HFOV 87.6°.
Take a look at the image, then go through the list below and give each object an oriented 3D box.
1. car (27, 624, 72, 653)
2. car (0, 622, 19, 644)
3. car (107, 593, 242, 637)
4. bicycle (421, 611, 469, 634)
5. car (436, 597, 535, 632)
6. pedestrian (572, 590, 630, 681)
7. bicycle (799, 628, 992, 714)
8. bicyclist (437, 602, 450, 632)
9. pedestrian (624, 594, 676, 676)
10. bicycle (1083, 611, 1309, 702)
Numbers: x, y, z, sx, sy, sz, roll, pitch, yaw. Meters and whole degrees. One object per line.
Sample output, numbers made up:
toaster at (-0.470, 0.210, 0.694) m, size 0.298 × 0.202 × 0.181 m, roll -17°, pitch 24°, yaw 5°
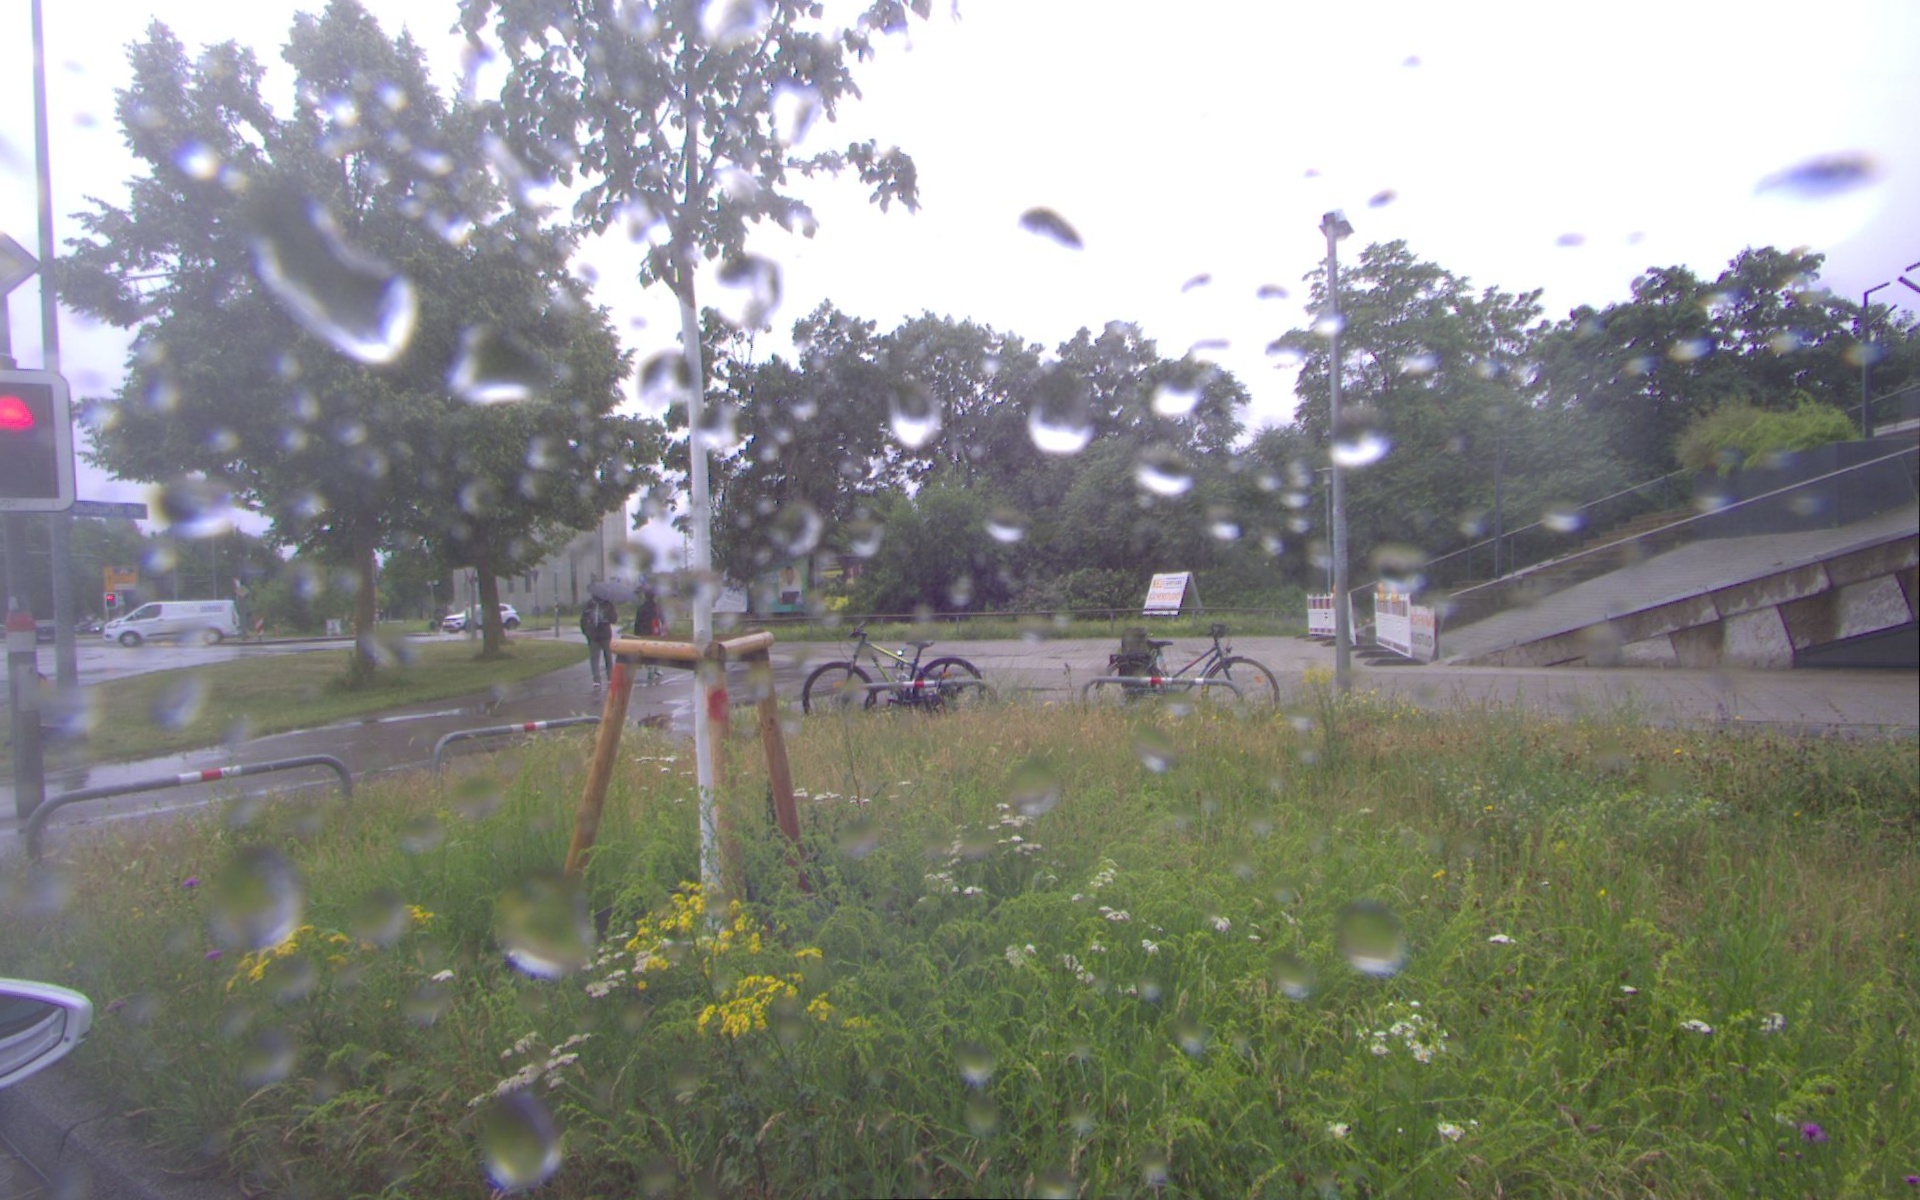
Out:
car at (-49.919, 2.098, 54.895) m, size 3.947 × 1.473 × 1.608 m, roll -1°, pitch 0°, yaw 45°
car at (-76.871, 2.636, 79.357) m, size 1.771 × 1.683 × 3.993 m, roll 0°, pitch -2°, yaw -19°
car at (-35.926, 0.724, 45.971) m, size 4.715 × 1.874 × 1.987 m, roll 1°, pitch -2°, yaw -35°
bicycle at (-30.538, 1.349, 59.457) m, size 2.480 × 1.330 × 0.567 m, roll 1°, pitch -2°, yaw -38°
car at (-26.838, 0.810, 56.798) m, size 1.970 × 1.876 × 4.753 m, roll -1°, pitch 0°, yaw 30°
pedestrian at (-6.227, 0.617, 17.372) m, size 0.730 × 1.542 × 0.620 m, roll -1°, pitch -1°, yaw 31°
bicycle at (-0.614, 0.675, 9.668) m, size 1.823 × 0.797 × 0.380 m, roll 0°, pitch -2°, yaw -2°
bicyclist at (-30.656, 1.025, 59.390) m, size 0.584 × 1.764 × 0.492 m, roll 1°, pitch -2°, yaw -40°
pedestrian at (-5.775, 0.649, 18.667) m, size 0.564 × 1.480 × 0.679 m, roll -1°, pitch 1°, yaw 28°
bicycle at (2.153, 0.521, 9.246) m, size 1.972 × 0.796 × 0.454 m, roll -1°, pitch -2°, yaw 16°
